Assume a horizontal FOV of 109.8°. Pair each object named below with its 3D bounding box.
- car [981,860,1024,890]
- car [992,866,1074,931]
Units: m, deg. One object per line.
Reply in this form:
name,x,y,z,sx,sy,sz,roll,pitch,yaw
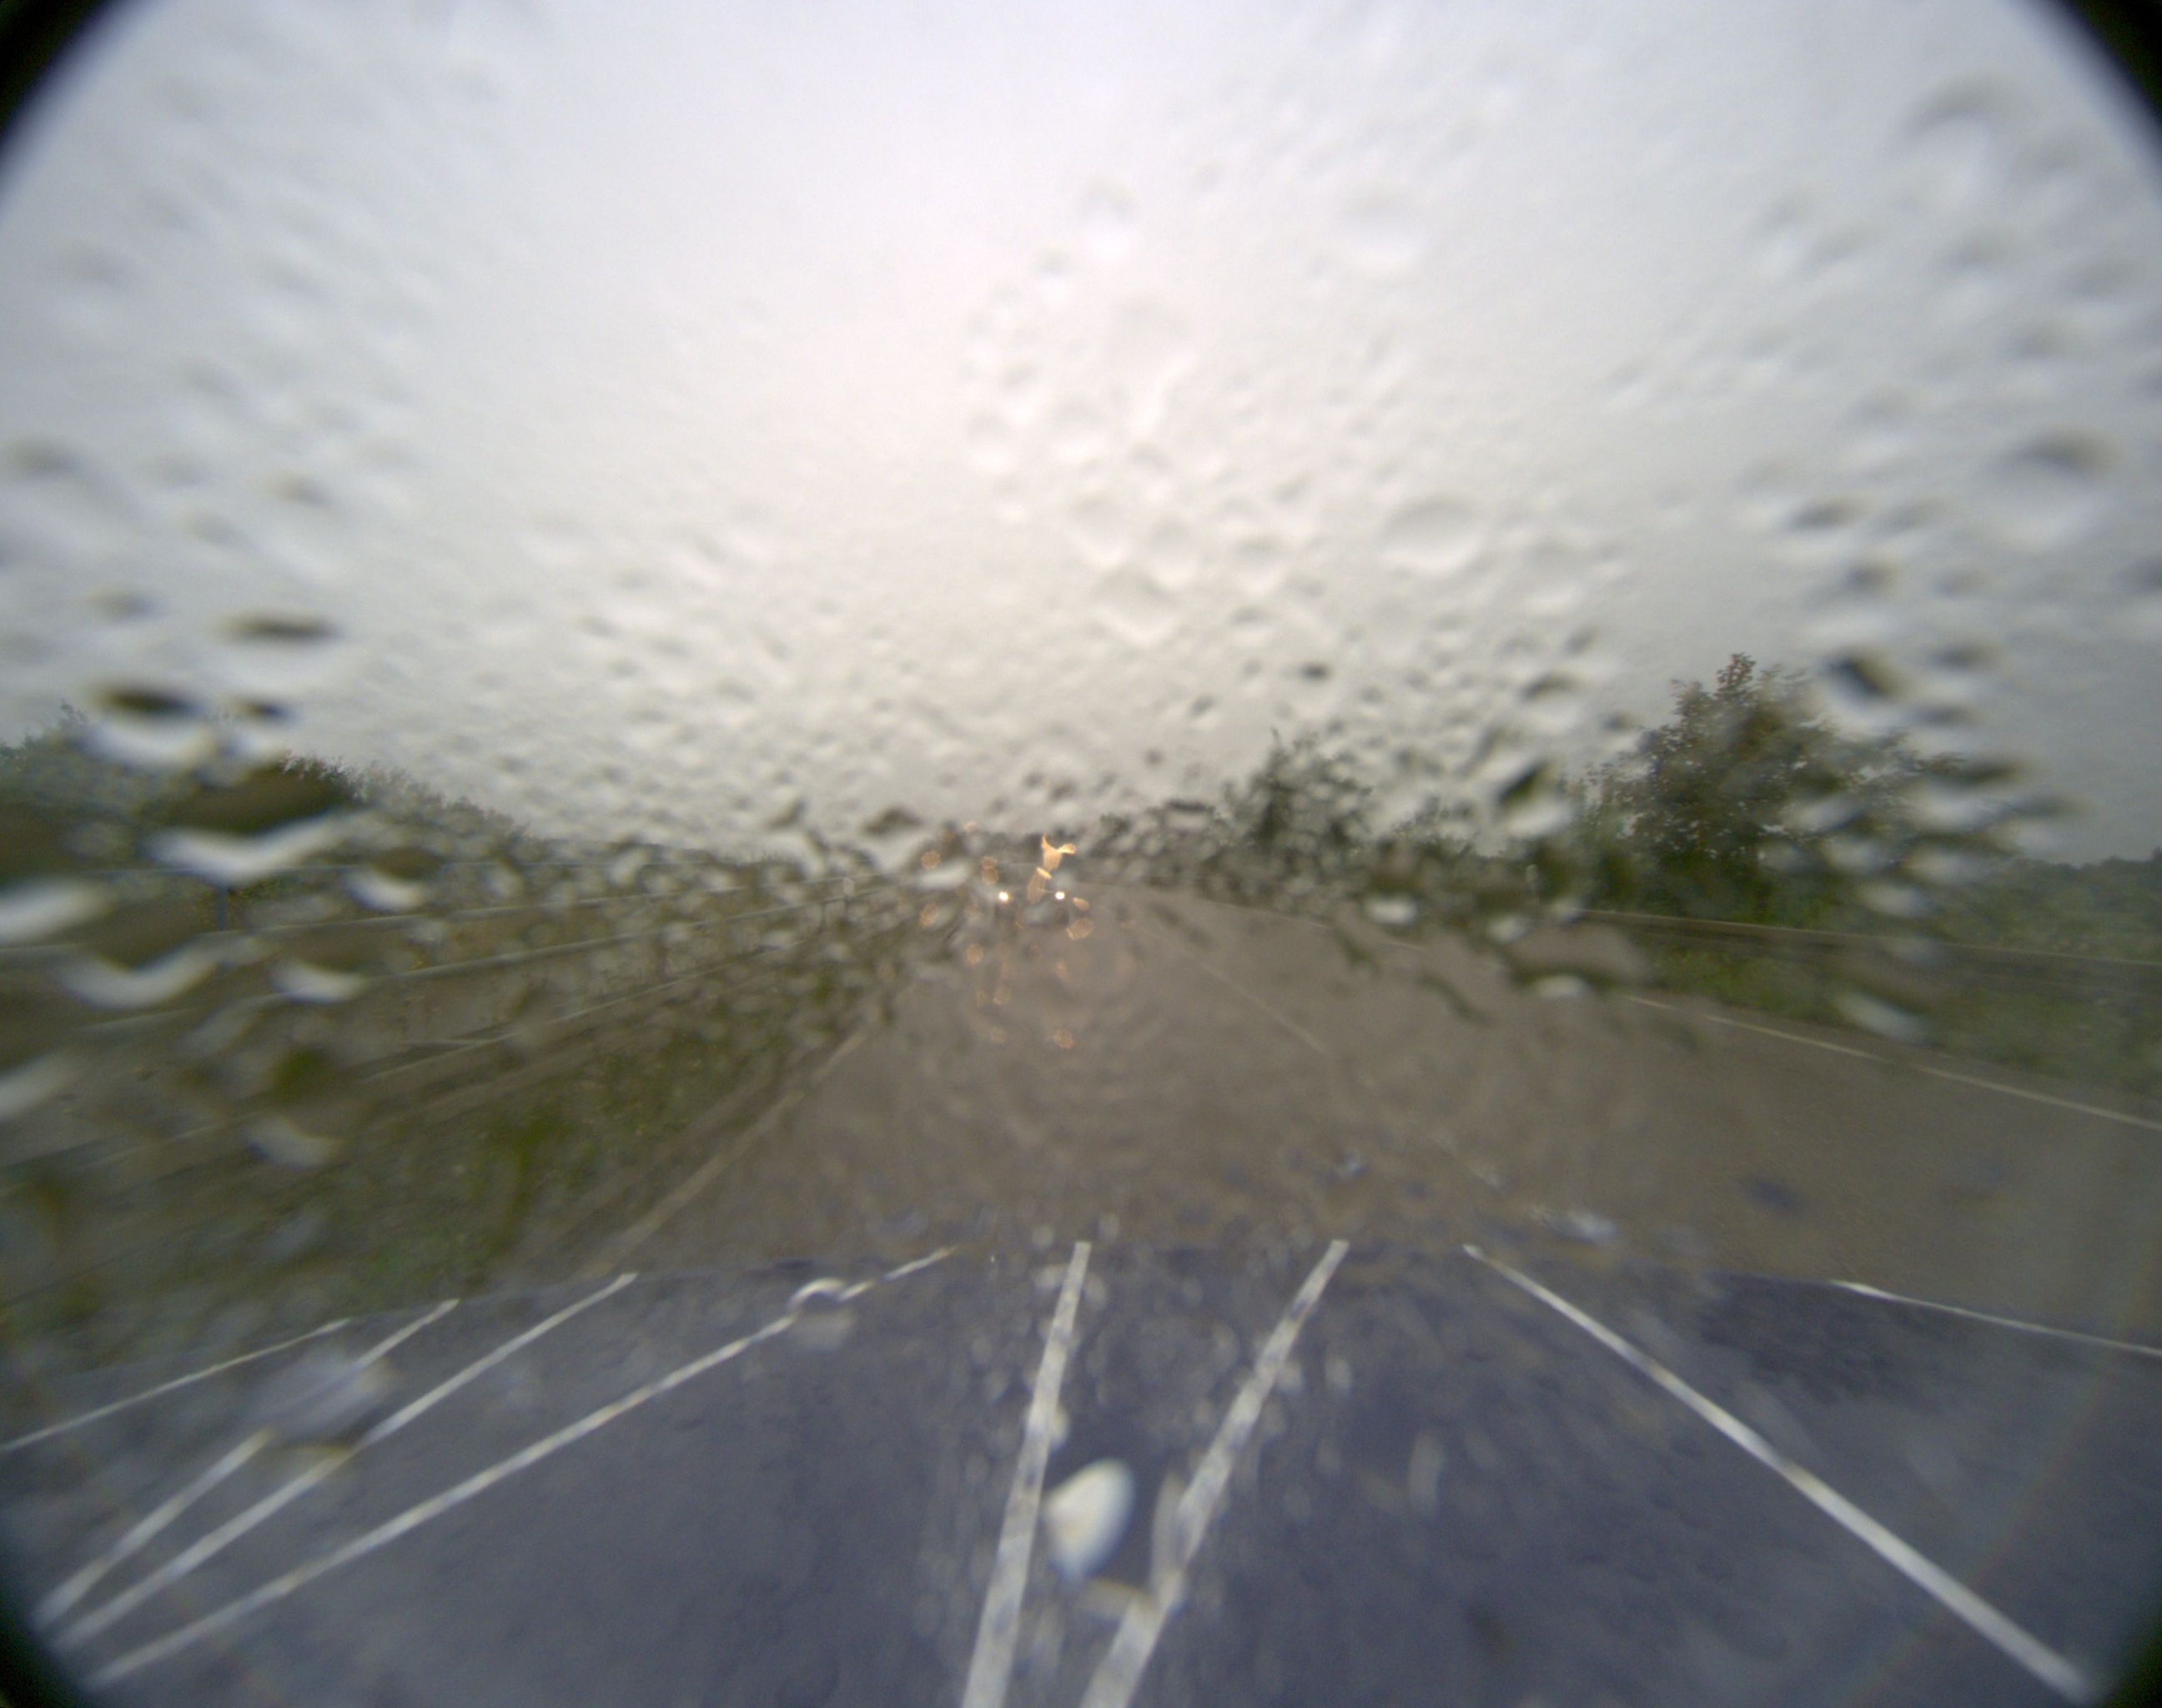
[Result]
car,-4.037,1.022,38.594,1.821,1.382,4.065,-1,0,-10
car,-1.293,1.027,19.050,1.820,1.382,4.067,0,0,-6
